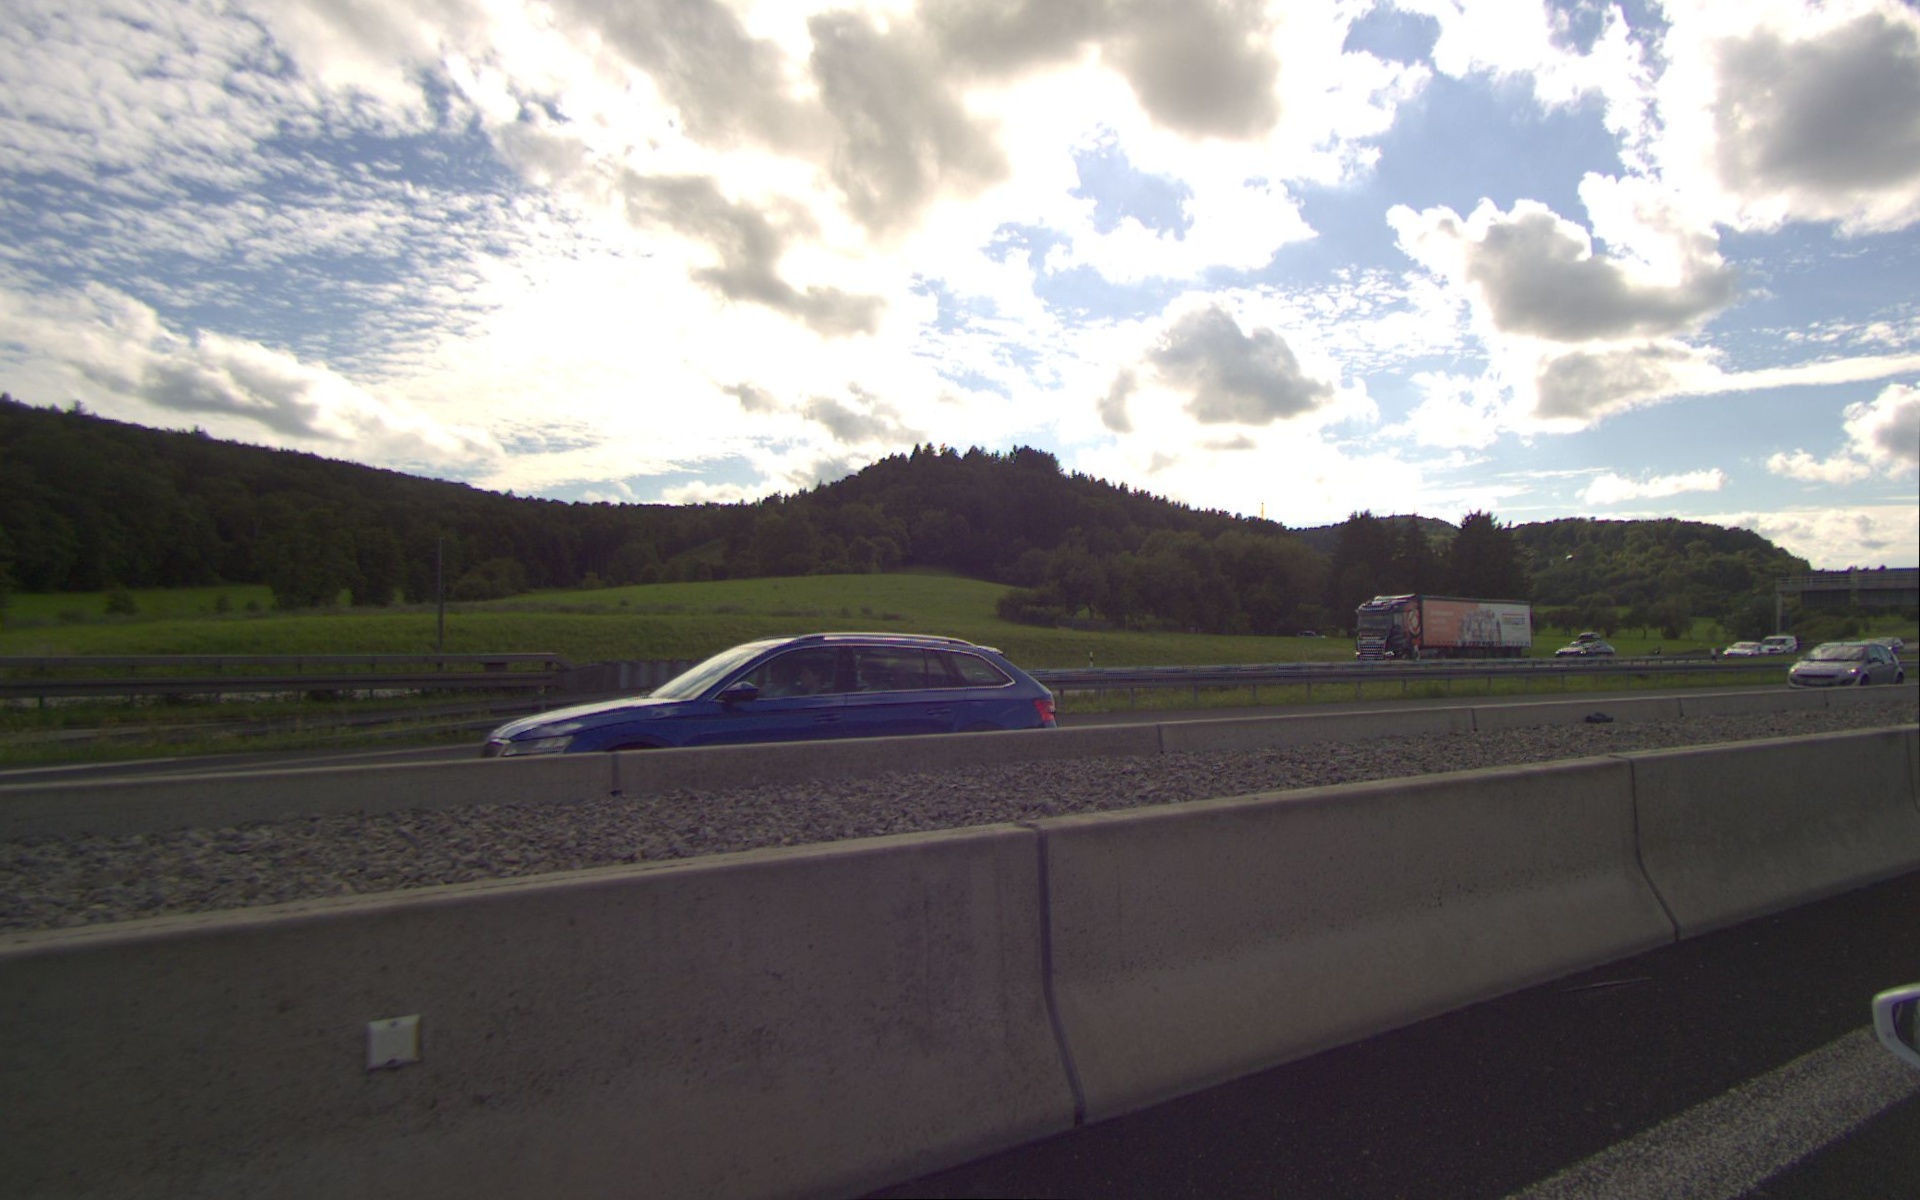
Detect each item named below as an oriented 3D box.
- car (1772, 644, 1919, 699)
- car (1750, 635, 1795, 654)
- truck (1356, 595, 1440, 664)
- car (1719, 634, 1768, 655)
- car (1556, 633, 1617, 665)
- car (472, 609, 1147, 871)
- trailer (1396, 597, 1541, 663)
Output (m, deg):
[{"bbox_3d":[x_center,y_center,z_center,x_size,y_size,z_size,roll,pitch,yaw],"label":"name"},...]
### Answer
[{"bbox_3d":[25.332,1.993,28.674,4.132,1.475,1.984,2,-3,-30],"label":"car"},{"bbox_3d":[70.179,3.836,86.722,4.842,1.568,1.761,2,-3,-36],"label":"car"},{"bbox_3d":[25.160,1.723,57.639,5.098,3.810,1.981,2,-3,-35],"label":"truck"},{"bbox_3d":[55.054,3.136,70.562,4.360,1.418,1.759,2,-3,-38],"label":"car"},{"bbox_3d":[39.372,3.065,63.137,4.357,1.922,1.760,2,-3,-36],"label":"car"},{"bbox_3d":[-1.096,0.986,8.520,5.355,1.639,1.919,2,-3,-30],"label":"car"},{"bbox_3d":[31.672,1.945,62.167,13.110,3.785,1.981,2,-3,-35],"label":"trailer"}]
